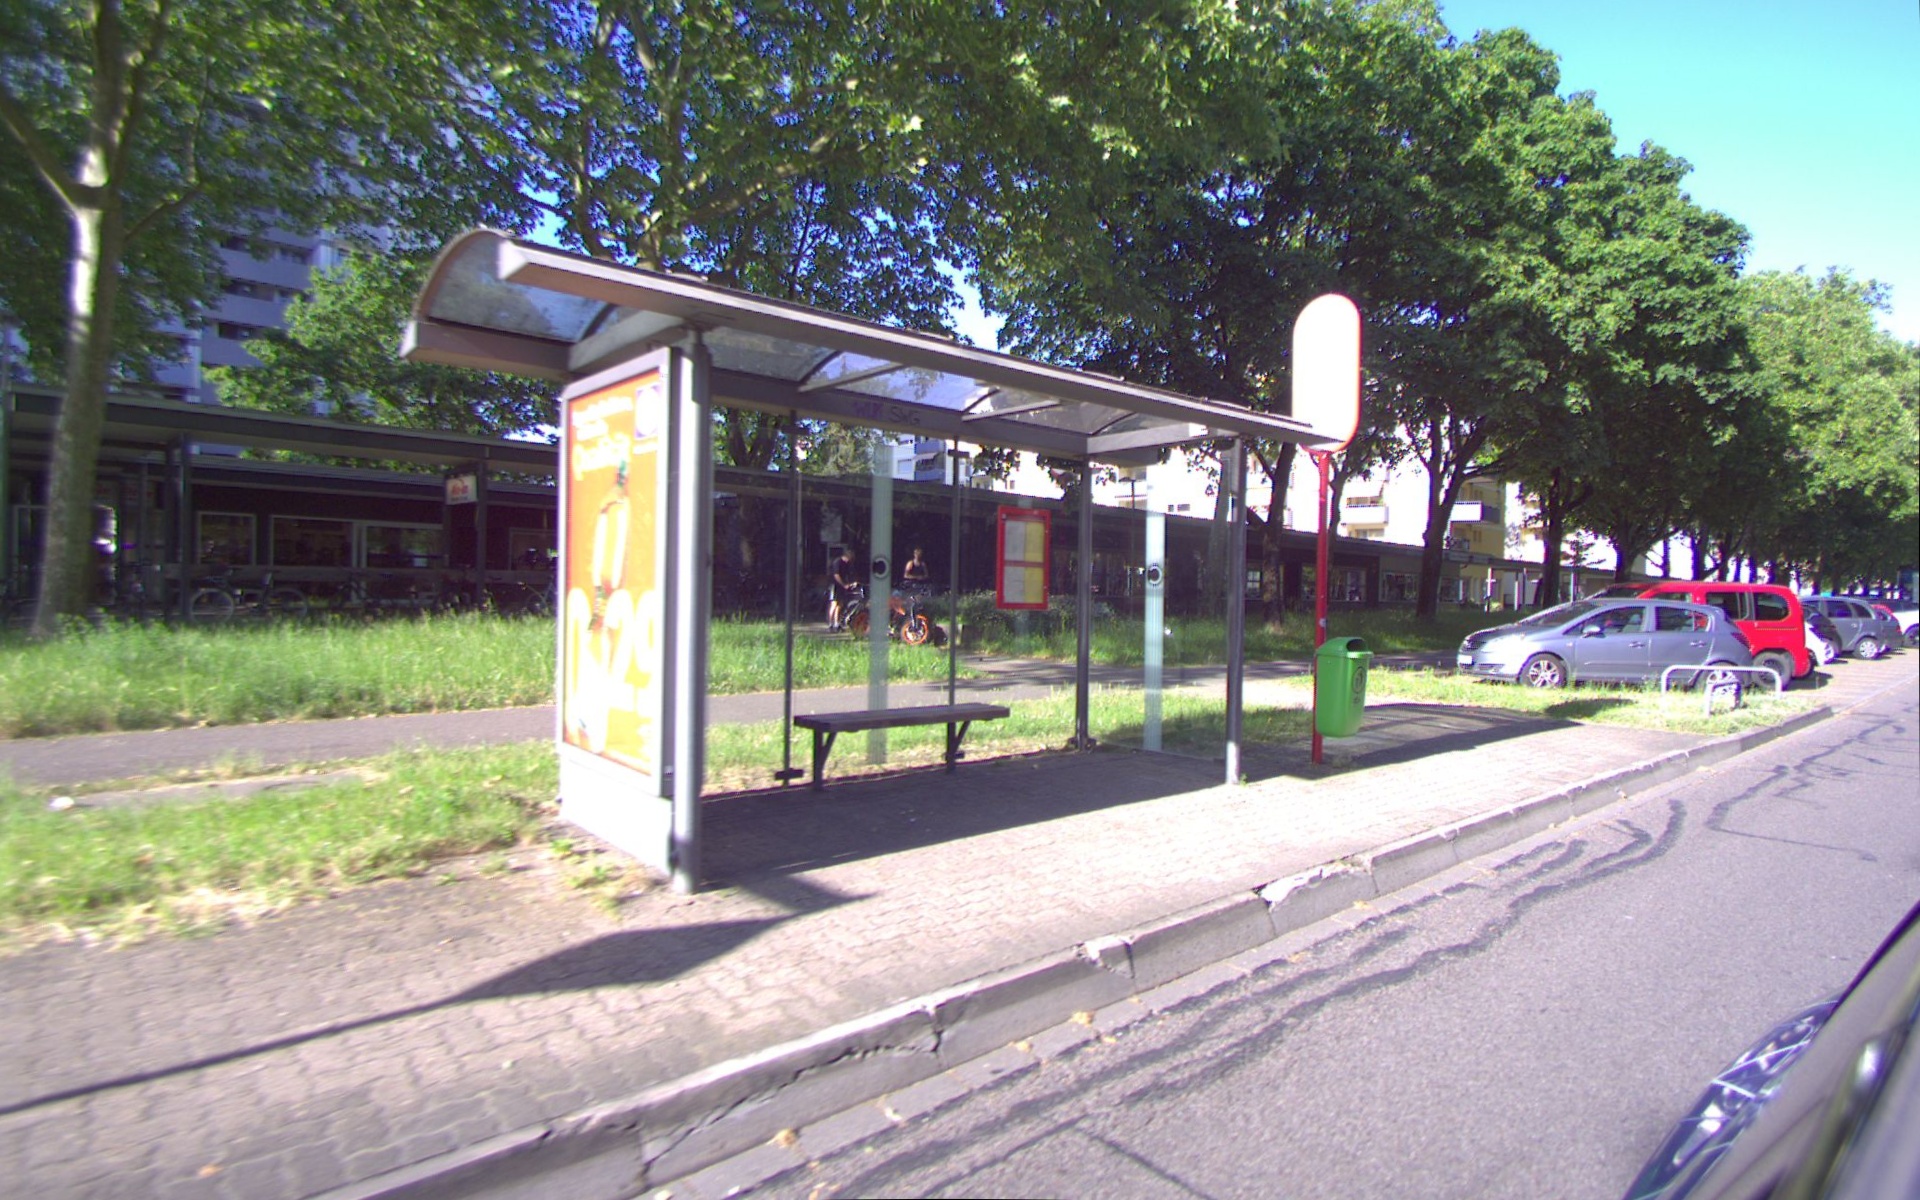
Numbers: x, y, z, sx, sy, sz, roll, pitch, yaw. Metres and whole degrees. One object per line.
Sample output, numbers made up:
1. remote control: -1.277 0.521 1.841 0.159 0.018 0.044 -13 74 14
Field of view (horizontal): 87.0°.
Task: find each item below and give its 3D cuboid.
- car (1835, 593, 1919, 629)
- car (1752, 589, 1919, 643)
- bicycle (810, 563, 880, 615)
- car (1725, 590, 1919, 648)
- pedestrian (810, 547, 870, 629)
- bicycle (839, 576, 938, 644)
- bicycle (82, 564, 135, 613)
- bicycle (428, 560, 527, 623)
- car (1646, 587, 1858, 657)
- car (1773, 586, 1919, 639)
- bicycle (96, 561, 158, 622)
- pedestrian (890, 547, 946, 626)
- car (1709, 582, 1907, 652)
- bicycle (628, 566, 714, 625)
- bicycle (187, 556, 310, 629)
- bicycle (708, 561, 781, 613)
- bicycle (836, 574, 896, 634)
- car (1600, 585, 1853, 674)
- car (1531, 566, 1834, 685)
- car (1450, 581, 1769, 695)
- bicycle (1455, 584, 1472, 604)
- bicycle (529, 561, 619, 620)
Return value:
1. car: 41.892 0.525 44.691 4.591 1.442 1.999 2 2 3
2. car: 27.484 0.466 31.872 3.514 1.437 1.709 2 3 7
3. bicycle: -2.916 -0.279 25.842 1.775 1.269 0.576 -1 0 -42
4. car: 24.854 0.512 29.267 4.012 1.420 1.686 2 2 3
5. pedestrian: -2.601 -0.270 21.976 1.126 1.729 0.722 2 1 42
6. bicycle: -1.374 0.167 19.186 2.064 1.172 0.554 3 2 40
7. bicycle: -18.652 -0.272 22.162 1.801 0.966 0.700 5 4 43
8. bicycle: -10.028 -0.185 21.066 1.775 1.269 0.576 -1 0 -42
9. car: 19.170 0.501 24.621 3.677 1.476 1.682 2 2 3
10. car: 30.477 0.408 34.246 4.230 1.697 1.864 1 0 8
11. bicycle: -16.245 -0.196 19.723 1.800 1.129 0.700 2 3 44
12. pedestrian: -1.022 -0.335 24.527 0.963 1.863 0.938 2 1 41
13. car: 22.364 0.430 26.799 3.654 1.610 1.700 2 2 3
14. bicycle: -6.408 -0.112 22.496 1.775 1.269 0.576 -1 0 -42
15. bicycle: -12.867 -0.144 18.342 1.775 1.269 0.576 -1 0 -42
16. bicycle: -5.460 -0.334 25.696 1.775 1.269 0.576 -1 0 -42
17. bicycle: -2.019 0.059 21.451 0.550 1.172 2.077 1 2 -25
18. car: 15.052 0.538 20.052 3.564 1.513 1.680 2 2 6
19. car: 12.588 0.388 17.860 3.882 1.865 1.767 2 2 5
20. car: 9.805 0.526 15.514 3.762 1.490 1.517 2 2 6
21. bicycle: 33.162 -0.380 66.657 1.633 1.323 0.505 -1 0 -44
22. bicycle: -8.552 -0.207 22.480 1.775 1.269 0.576 -1 0 -42
